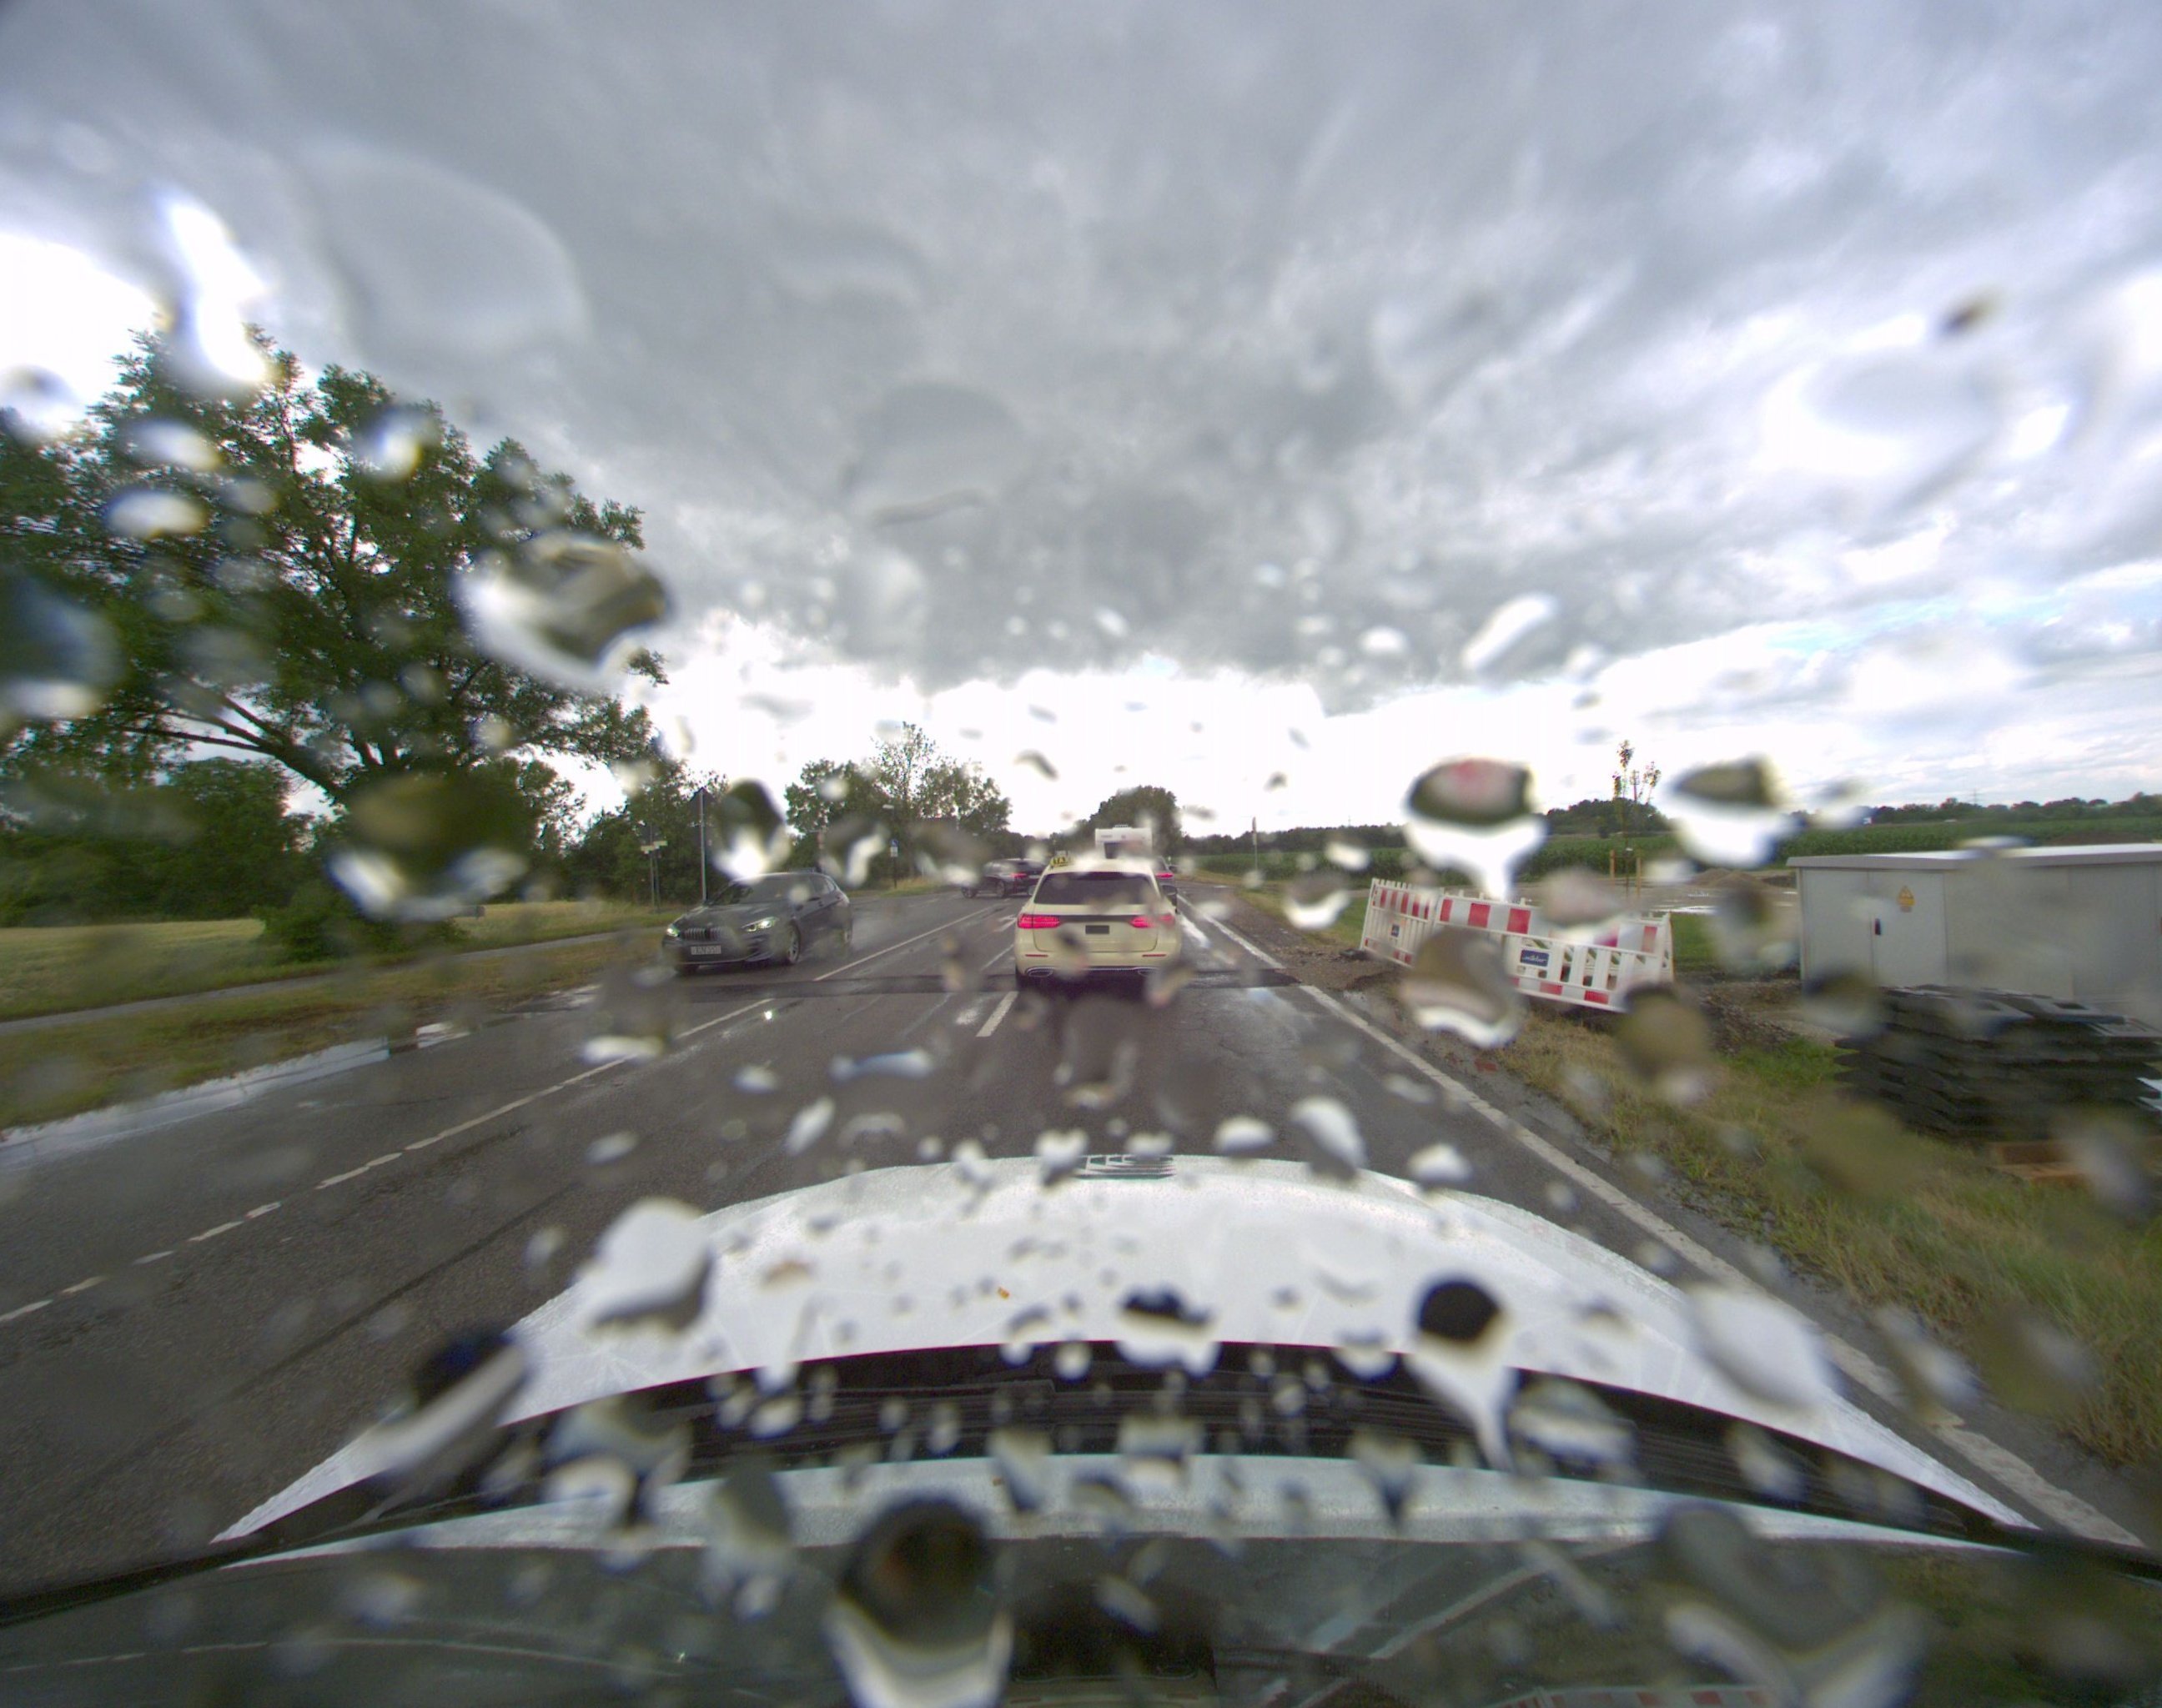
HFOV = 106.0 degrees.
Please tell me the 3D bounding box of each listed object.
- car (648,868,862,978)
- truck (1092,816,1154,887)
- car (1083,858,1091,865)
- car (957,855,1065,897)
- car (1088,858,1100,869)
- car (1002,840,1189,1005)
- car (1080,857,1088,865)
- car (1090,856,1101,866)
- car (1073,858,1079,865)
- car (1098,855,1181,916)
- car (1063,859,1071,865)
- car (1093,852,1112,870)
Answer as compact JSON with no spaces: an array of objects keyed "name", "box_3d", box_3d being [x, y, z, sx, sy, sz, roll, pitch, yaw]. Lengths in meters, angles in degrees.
[{"name":"car","box_3d":[-5.175,1.014,13.584,1.713,1.404,4.046,-4,0,2]},{"name":"truck","box_3d":[1.792,-0.103,35.865,2.354,2.729,7.317,-2,0,2]},{"name":"car","box_3d":[1.371,1.825,200.140,1.744,1.662,3.669,-2,0,-2]},{"name":"car","box_3d":[-2.874,0.820,32.405,2.319,1.547,4.582,0,-1,-35]},{"name":"car","box_3d":[2.090,1.521,131.435,1.784,1.777,3.722,-2,0,2]},{"name":"car","box_3d":[0.207,0.691,10.115,1.836,1.618,4.001,-1,0,2]},{"name":"car","box_3d":[0.866,1.787,212.426,1.890,1.895,3.841,-2,0,-1]},{"name":"car","box_3d":[2.829,1.321,159.734,1.988,1.772,3.997,-2,0,-2]},{"name":"car","box_3d":[-1.560,2.250,244.779,1.889,1.839,3.880,-2,0,0]},{"name":"car","box_3d":[1.468,0.768,21.604,1.986,1.462,4.001,0,0,2]},{"name":"car","box_3d":[-3.978,2.346,233.267,1.821,1.574,4.002,0,0,2]},{"name":"car","box_3d":[2.264,0.708,86.836,1.909,1.841,3.796,-2,0,1]}]
